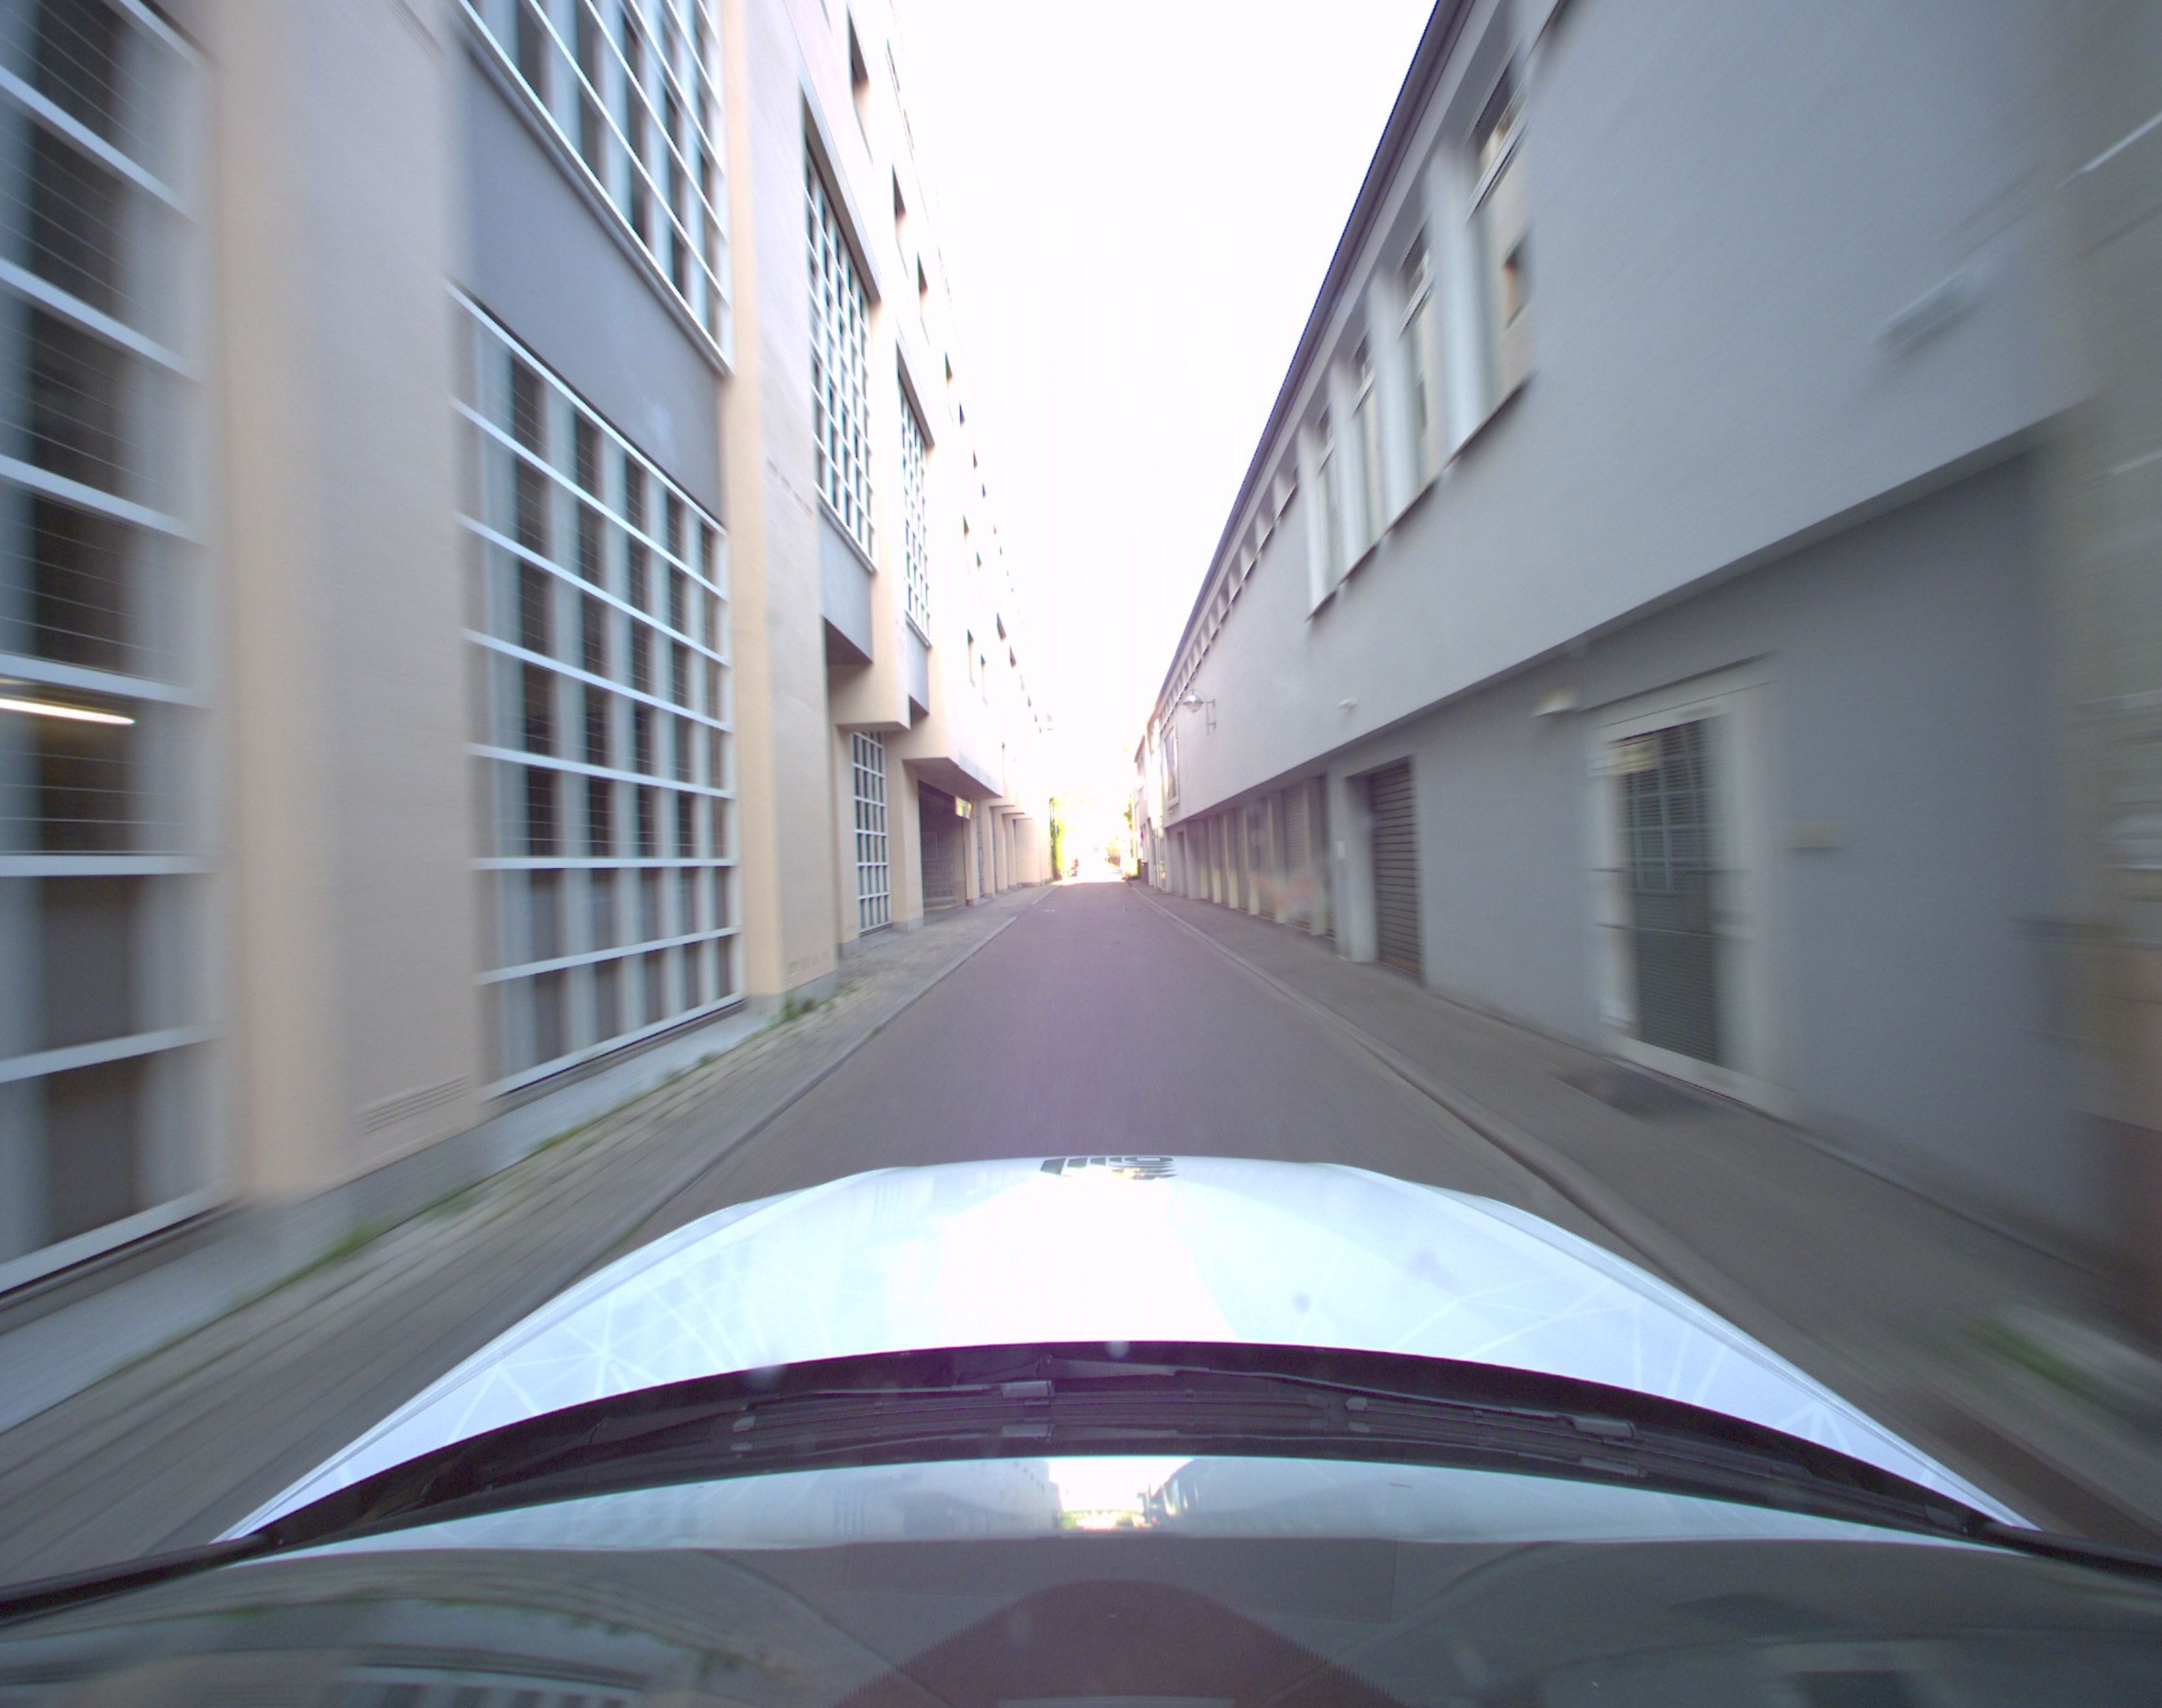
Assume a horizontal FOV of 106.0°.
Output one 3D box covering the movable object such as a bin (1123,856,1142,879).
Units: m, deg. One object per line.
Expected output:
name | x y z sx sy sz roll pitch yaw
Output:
movable object such as a bin | 3.246 0.863 51.517 0.936 1.366 1.340 -5 -1 -5
